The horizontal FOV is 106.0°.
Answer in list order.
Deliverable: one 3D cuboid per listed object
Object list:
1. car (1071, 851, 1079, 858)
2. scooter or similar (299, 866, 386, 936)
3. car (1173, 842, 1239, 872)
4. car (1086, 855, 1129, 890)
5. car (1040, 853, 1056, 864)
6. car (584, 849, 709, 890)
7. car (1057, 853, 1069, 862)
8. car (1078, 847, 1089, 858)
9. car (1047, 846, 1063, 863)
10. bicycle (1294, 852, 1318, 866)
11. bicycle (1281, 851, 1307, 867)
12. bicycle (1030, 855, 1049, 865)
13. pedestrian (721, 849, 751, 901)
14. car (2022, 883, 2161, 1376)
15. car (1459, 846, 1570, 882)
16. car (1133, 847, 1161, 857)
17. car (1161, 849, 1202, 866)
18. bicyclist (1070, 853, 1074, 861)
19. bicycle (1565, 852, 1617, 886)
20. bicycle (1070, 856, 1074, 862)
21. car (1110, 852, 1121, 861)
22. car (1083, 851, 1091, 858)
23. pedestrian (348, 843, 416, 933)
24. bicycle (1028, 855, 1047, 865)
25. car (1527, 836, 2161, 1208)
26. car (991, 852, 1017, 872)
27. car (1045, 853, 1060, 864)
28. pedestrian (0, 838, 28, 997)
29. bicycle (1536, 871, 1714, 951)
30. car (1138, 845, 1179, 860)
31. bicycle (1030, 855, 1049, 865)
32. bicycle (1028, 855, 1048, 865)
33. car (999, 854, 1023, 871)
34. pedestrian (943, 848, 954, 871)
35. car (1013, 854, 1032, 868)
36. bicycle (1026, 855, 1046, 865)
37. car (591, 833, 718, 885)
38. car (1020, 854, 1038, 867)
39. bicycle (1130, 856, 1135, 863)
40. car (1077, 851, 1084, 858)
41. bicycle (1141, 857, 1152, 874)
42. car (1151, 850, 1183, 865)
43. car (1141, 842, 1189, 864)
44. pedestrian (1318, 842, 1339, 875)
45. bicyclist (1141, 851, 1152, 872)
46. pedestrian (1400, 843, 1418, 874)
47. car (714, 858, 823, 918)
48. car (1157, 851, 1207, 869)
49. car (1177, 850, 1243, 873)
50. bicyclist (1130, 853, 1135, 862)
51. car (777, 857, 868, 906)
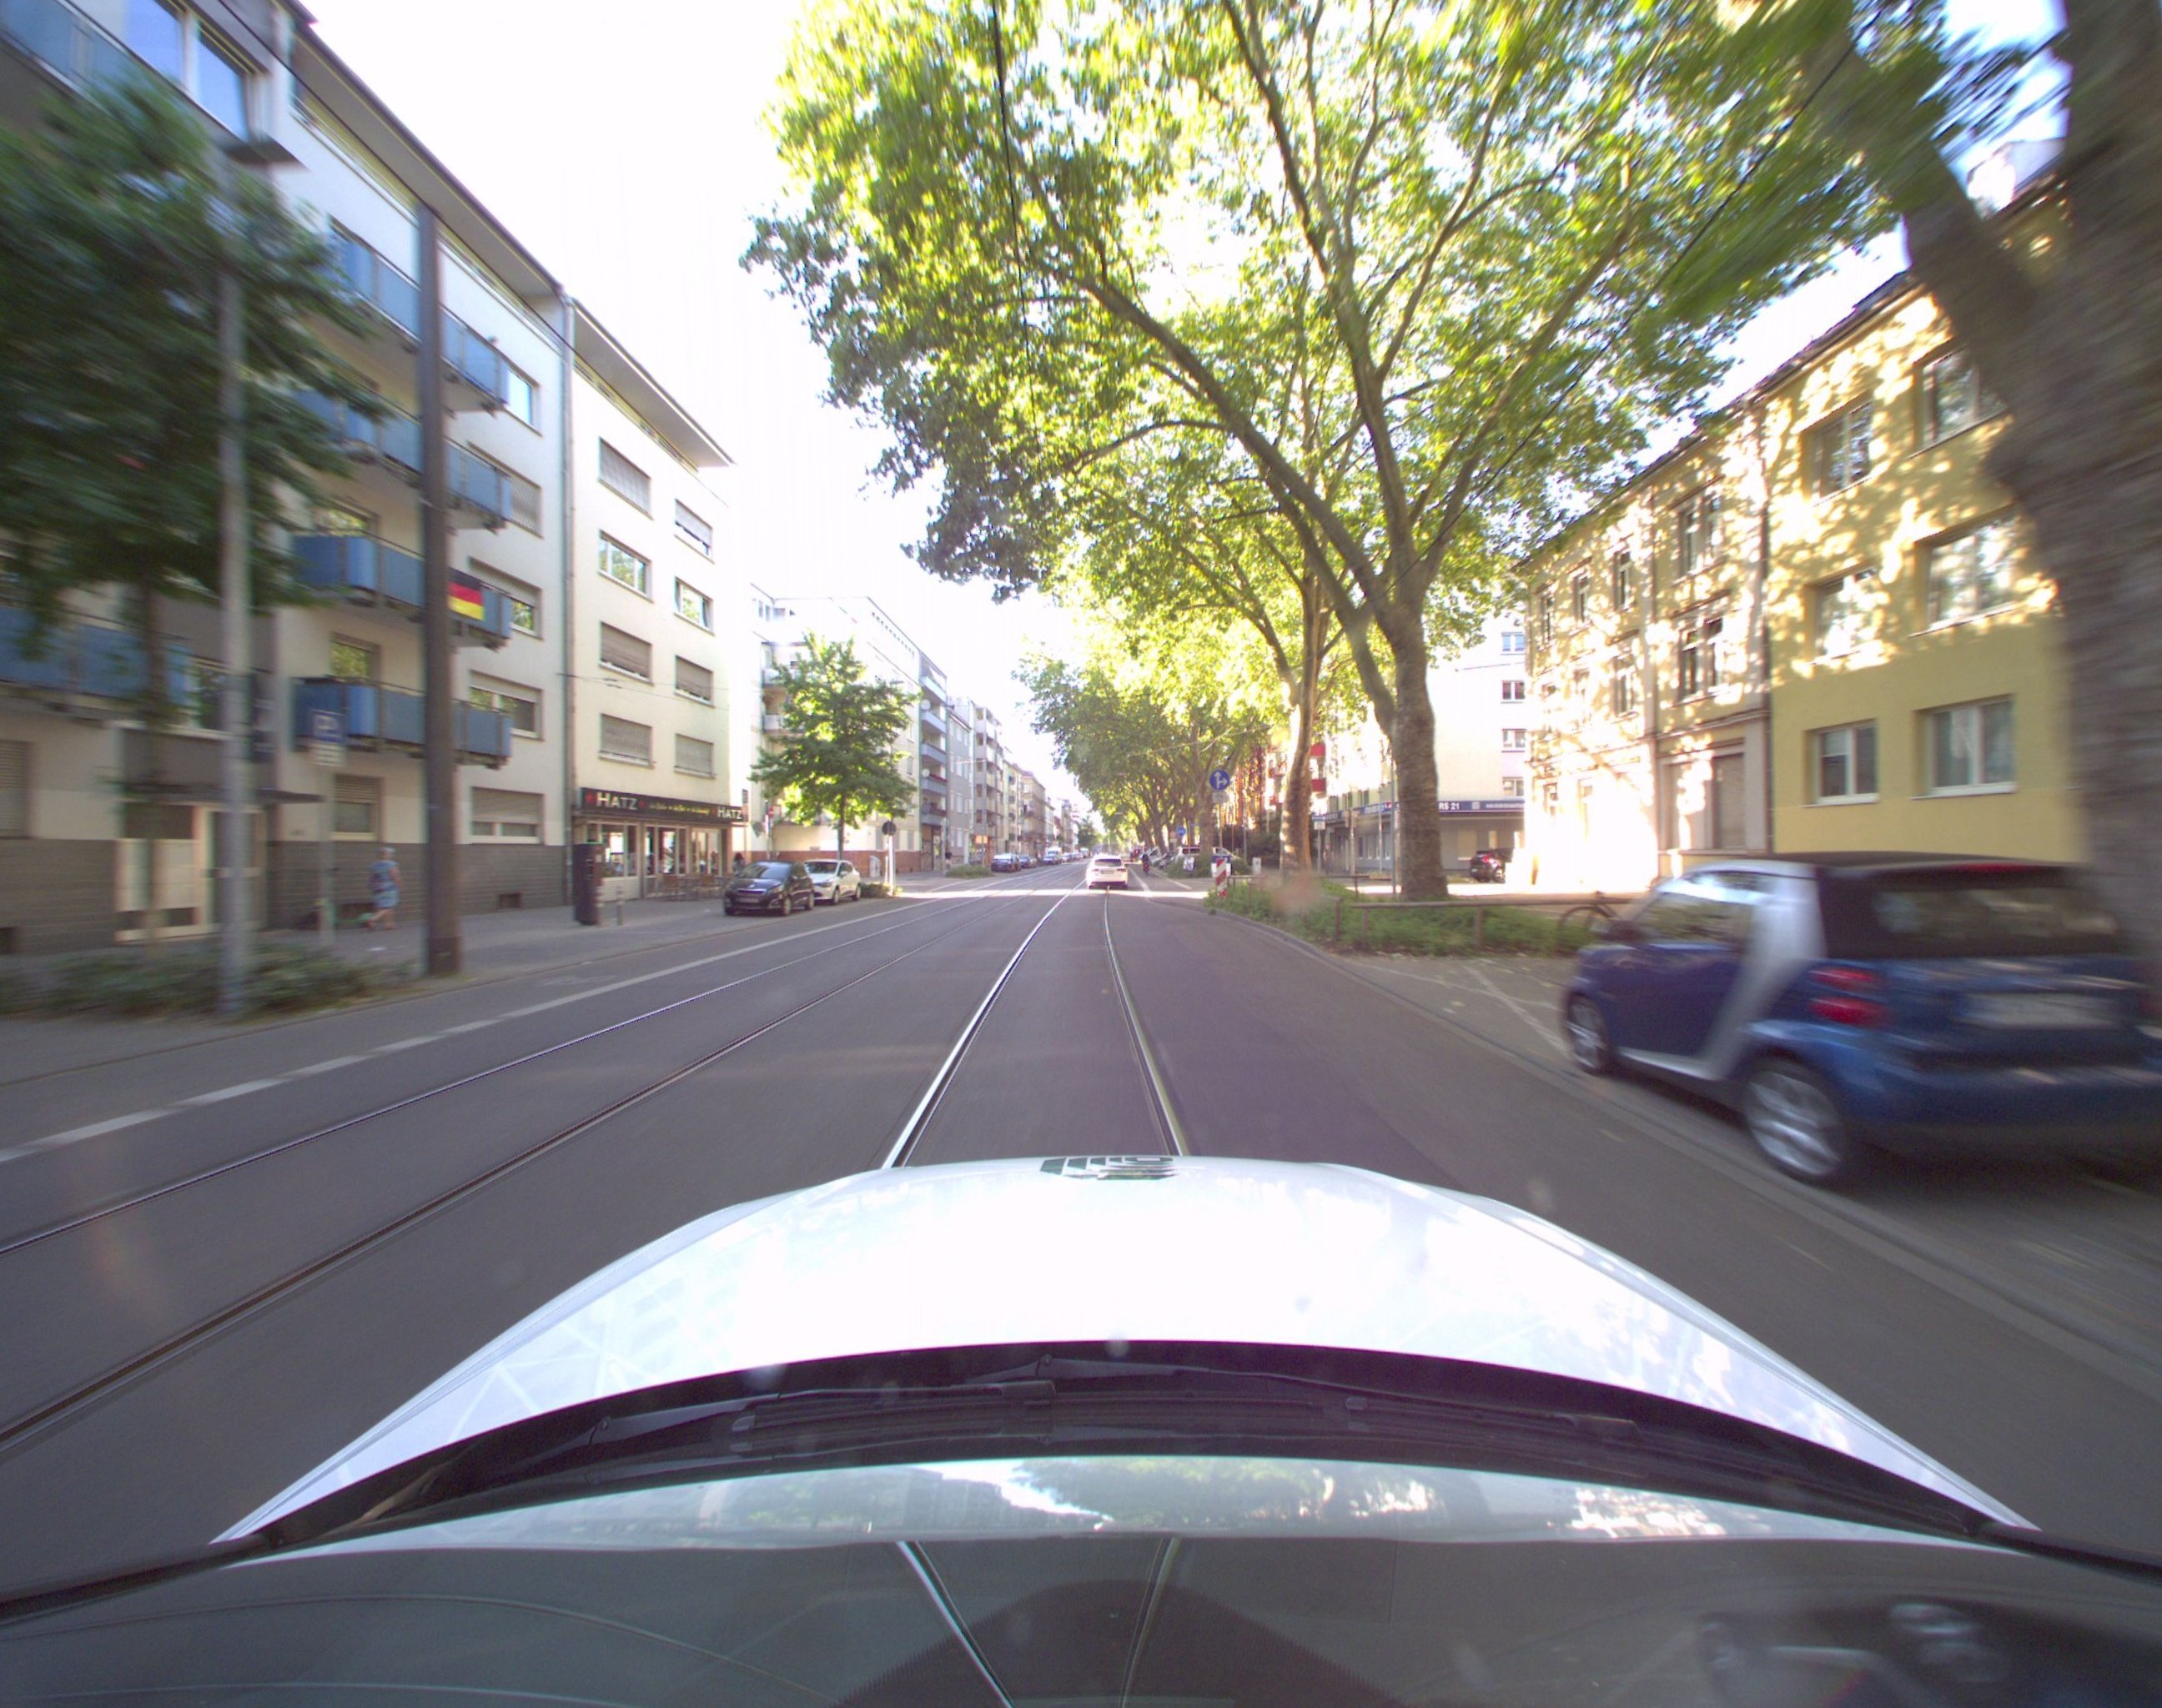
[{"bbox_3d":[-1.641,0.160,229.906,1.985,2.013,4.003,-1,0,2],"label":"car"},{"bbox_3d":[-14.364,0.888,15.870,0.373,1.289,1.240,-3,0,10],"label":"scooter or similar"},{"bbox_3d":[9.052,0.182,59.341,4.529,2.076,2.000,-1,0,0],"label":"car"},{"bbox_3d":[1.157,0.769,35.817,1.755,1.384,4.001,-1,0,1],"label":"car"},{"bbox_3d":[-4.688,0.609,116.714,1.985,1.530,4.003,-1,0,2],"label":"car"},{"bbox_3d":[-20.789,0.716,39.144,4.862,1.822,2.037,-1,0,-2],"label":"car"},{"bbox_3d":[-3.287,0.603,148.758,1.985,1.530,4.003,-1,0,2],"label":"car"},{"bbox_3d":[0.815,-0.420,251.306,2.956,3.155,5.851,0,0,2],"label":"car"},{"bbox_3d":[-4.120,0.099,128.435,2.170,2.597,4.952,-1,0,2],"label":"car"},{"bbox_3d":[18.345,0.412,66.448,1.786,1.041,0.617,-3,0,-2],"label":"bicycle"},{"bbox_3d":[17.437,0.396,66.544,1.941,1.156,0.571,-3,0,-5],"label":"bicycle"},{"bbox_3d":[-5.561,0.802,108.308,2.519,1.172,0.718,1,-2,-3],"label":"bicycle"},{"bbox_3d":[-11.501,0.688,27.177,0.661,1.691,0.749,-1,0,1],"label":"pedestrian"},{"bbox_3d":[4.108,0.765,0.437,1.811,1.436,4.600,-2,-1,-1],"label":"car"},{"bbox_3d":[19.952,0.447,37.596,4.121,1.593,1.998,-1,0,-3],"label":"car"},{"bbox_3d":[14.975,-0.482,185.134,6.110,2.282,2.529,-1,0,0],"label":"car"},{"bbox_3d":[10.021,0.325,81.461,3.972,1.680,1.724,-1,0,1],"label":"car"},{"bbox_3d":[-1.510,0.482,133.486,0.595,1.286,0.917,-1,0,0],"label":"bicyclist"},{"bbox_3d":[17.343,0.489,27.744,0.580,1.104,1.923,-3,0,2],"label":"bicycle"},{"bbox_3d":[-1.504,0.814,133.448,0.603,1.071,1.583,-1,0,0],"label":"bicycle"},{"bbox_3d":[5.798,0.402,137.336,1.754,1.475,4.003,-1,0,3],"label":"car"},{"bbox_3d":[1.660,0.127,232.275,1.985,2.013,4.003,-1,0,2],"label":"car"},{"bbox_3d":[-13.529,0.636,15.783,0.661,1.691,0.749,-1,0,1],"label":"pedestrian"},{"bbox_3d":[-5.638,0.809,105.583,2.520,1.172,0.718,1,-2,-4],"label":"bicycle"},{"bbox_3d":[4.173,0.720,4.851,1.556,1.519,2.914,-2,-1,4],"label":"car"},{"bbox_3d":[-6.748,0.691,71.744,1.696,1.650,4.242,2,0,1],"label":"car"},{"bbox_3d":[-4.276,0.639,122.488,1.985,1.530,4.003,-1,0,2],"label":"car"},{"bbox_3d":[-11.891,0.679,8.493,0.761,1.691,0.795,-1,0,1],"label":"pedestrian"},{"bbox_3d":[7.415,0.796,11.213,1.944,1.006,0.514,-4,-1,28],"label":"bicycle"},{"bbox_3d":[11.875,-0.215,124.936,6.110,2.282,2.529,-1,0,0],"label":"car"},{"bbox_3d":[-5.508,0.808,109.361,2.519,1.172,0.718,1,-2,-4],"label":"bicycle"},{"bbox_3d":[-5.614,0.808,106.470,2.519,1.172,0.718,1,-2,-3],"label":"bicycle"},{"bbox_3d":[-6.551,0.802,76.906,1.695,1.544,4.244,2,0,2],"label":"car"},{"bbox_3d":[-10.805,0.440,66.503,0.661,1.826,0.965,-1,0,1],"label":"pedestrian"},{"bbox_3d":[-6.248,0.740,87.352,1.648,1.437,3.837,-1,0,1],"label":"car"},{"bbox_3d":[-5.739,0.807,104.703,2.544,1.172,0.873,2,-2,-38],"label":"bicycle"},{"bbox_3d":[-23.408,0.266,44.898,5.788,2.723,2.171,-1,0,0],"label":"car"},{"bbox_3d":[-5.920,0.762,92.541,1.478,1.403,3.995,-1,0,5],"label":"car"},{"bbox_3d":[7.562,0.835,120.336,0.647,1.071,1.583,-1,0,1],"label":"bicycle"},{"bbox_3d":[-0.118,0.203,244.171,1.985,2.014,4.002,0,0,2],"label":"car"},{"bbox_3d":[4.445,0.777,55.452,0.678,1.071,1.782,-1,0,3],"label":"bicycle"},{"bbox_3d":[9.889,0.350,94.092,3.617,1.666,1.824,-1,0,4],"label":"car"},{"bbox_3d":[10.930,-0.130,106.326,6.110,2.635,2.529,-1,0,0],"label":"car"},{"bbox_3d":[14.226,0.275,46.785,0.764,1.866,1.188,-1,0,-1],"label":"pedestrian"},{"bbox_3d":[4.446,0.516,55.547,0.676,1.443,1.048,-1,0,3],"label":"bicyclist"},{"bbox_3d":[17.881,0.247,44.430,0.743,1.644,0.666,-1,0,3],"label":"pedestrian"},{"bbox_3d":[-8.571,0.875,22.715,1.710,1.464,3.993,2,0,-5],"label":"car"},{"bbox_3d":[8.758,0.509,70.574,4.128,1.514,1.931,-1,0,1],"label":"car"},{"bbox_3d":[8.956,0.509,56.762,4.282,1.479,1.831,-1,0,1],"label":"car"},{"bbox_3d":[7.550,0.484,120.345,0.647,1.344,0.934,-1,0,0],"label":"bicyclist"},{"bbox_3d":[-8.565,0.863,27.378,1.708,1.464,4.374,2,0,-1],"label":"car"}]
